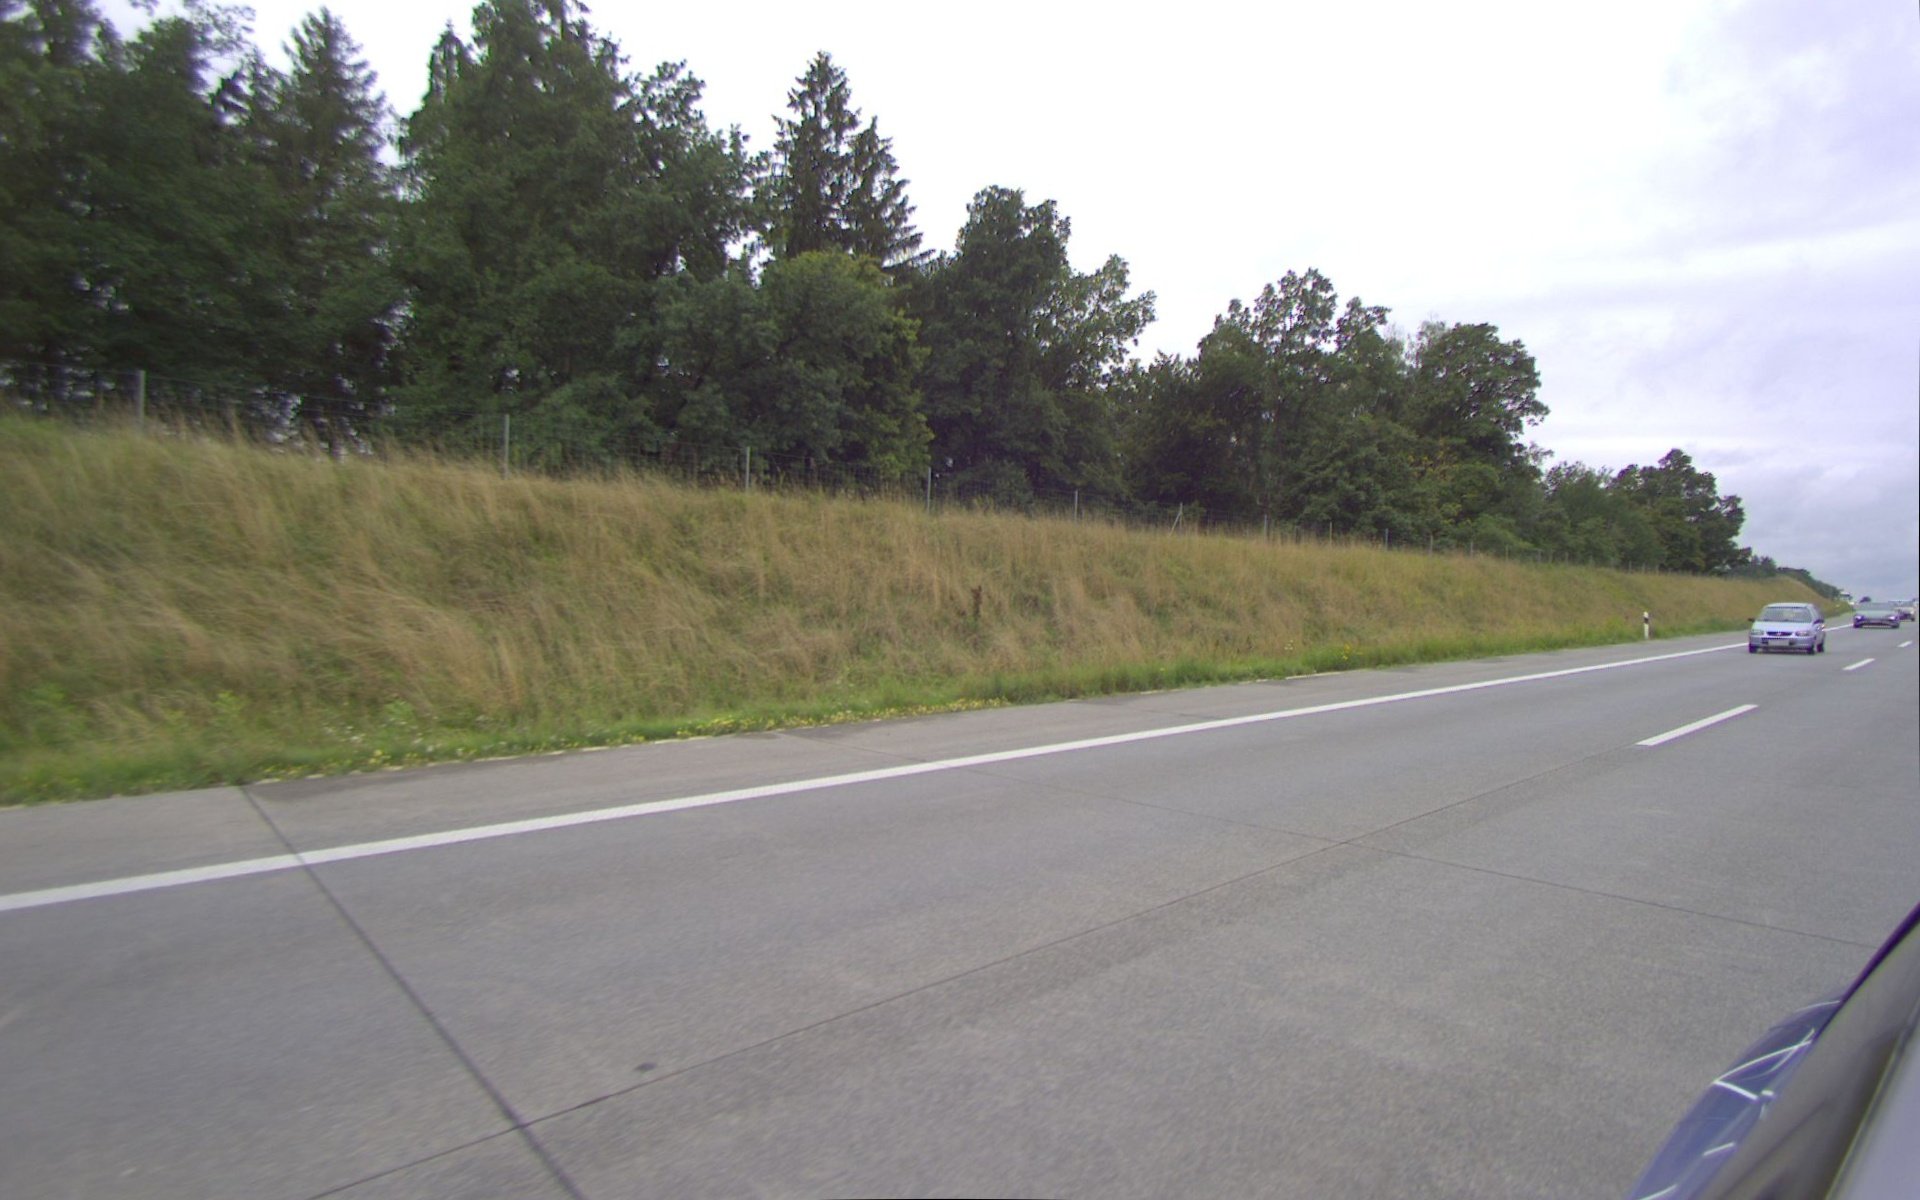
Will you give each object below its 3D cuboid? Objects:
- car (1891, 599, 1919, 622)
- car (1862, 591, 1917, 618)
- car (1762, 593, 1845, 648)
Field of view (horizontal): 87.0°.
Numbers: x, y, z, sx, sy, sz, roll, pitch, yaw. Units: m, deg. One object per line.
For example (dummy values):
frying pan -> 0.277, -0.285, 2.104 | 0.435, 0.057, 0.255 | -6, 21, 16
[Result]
car -> 72.574, 0.830, 77.327 | 1.784, 1.624, 4.504 | 5, 2, 40
car -> 52.546, 0.300, 57.174 | 4.666, 1.464, 2.015 | 1, -1, -44
car -> 24.552, 0.593, 29.434 | 3.446, 1.489, 1.487 | 1, 0, -44
